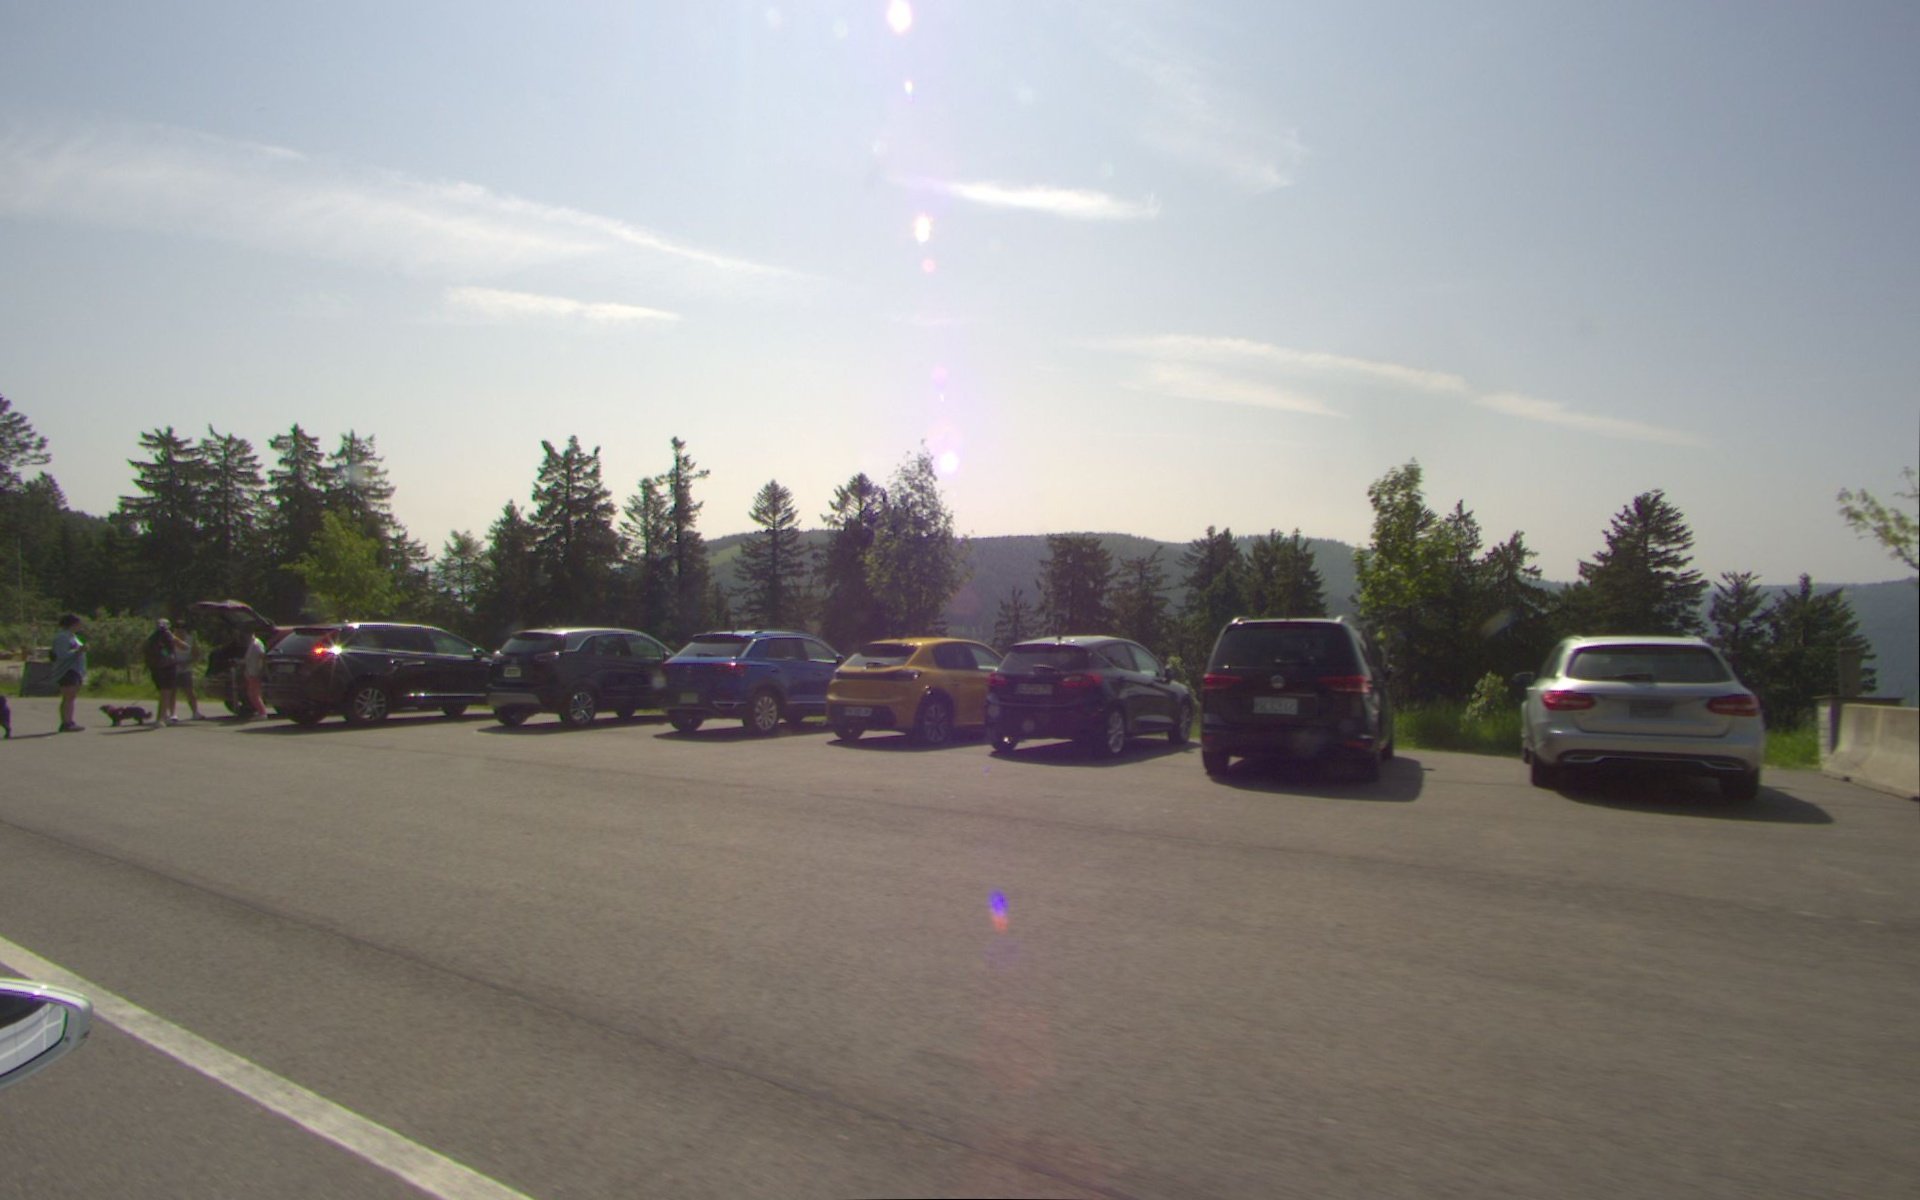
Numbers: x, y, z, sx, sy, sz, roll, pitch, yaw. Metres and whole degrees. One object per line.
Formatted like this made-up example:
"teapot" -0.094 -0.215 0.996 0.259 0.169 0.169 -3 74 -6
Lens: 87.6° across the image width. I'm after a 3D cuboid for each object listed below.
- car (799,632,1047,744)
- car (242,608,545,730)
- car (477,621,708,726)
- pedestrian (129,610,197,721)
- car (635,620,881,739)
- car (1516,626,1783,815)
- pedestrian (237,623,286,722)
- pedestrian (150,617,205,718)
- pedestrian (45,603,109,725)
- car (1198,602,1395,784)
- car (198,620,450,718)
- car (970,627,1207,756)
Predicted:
"car" -0.393 1.190 14.906 1.956 1.370 3.984 -1 -1 28
"car" -9.647 1.095 17.442 1.862 1.817 4.262 1 -1 28
"car" -6.167 1.164 17.241 1.574 1.587 3.753 0 -1 24
"pedestrian" -12.626 1.016 15.865 0.611 1.714 0.713 0 0 37
"car" -3.100 1.166 16.211 1.777 1.556 3.986 4 1 26
"car" 6.717 1.075 10.181 1.745 1.494 3.987 0 -3 27
"pedestrian" -11.916 1.210 17.088 0.612 1.609 0.729 -1 2 -40
"pedestrian" -13.582 1.153 17.378 0.680 1.683 0.649 2 2 43
"pedestrian" -13.454 0.960 15.260 0.715 1.798 0.615 0 0 38
"car" 3.950 0.966 11.331 1.575 1.667 3.988 0 -3 27
"car" -12.128 1.286 19.369 1.626 1.681 3.819 0 -3 26
"car" 1.886 1.168 13.485 1.737 1.454 3.995 -1 -4 30
